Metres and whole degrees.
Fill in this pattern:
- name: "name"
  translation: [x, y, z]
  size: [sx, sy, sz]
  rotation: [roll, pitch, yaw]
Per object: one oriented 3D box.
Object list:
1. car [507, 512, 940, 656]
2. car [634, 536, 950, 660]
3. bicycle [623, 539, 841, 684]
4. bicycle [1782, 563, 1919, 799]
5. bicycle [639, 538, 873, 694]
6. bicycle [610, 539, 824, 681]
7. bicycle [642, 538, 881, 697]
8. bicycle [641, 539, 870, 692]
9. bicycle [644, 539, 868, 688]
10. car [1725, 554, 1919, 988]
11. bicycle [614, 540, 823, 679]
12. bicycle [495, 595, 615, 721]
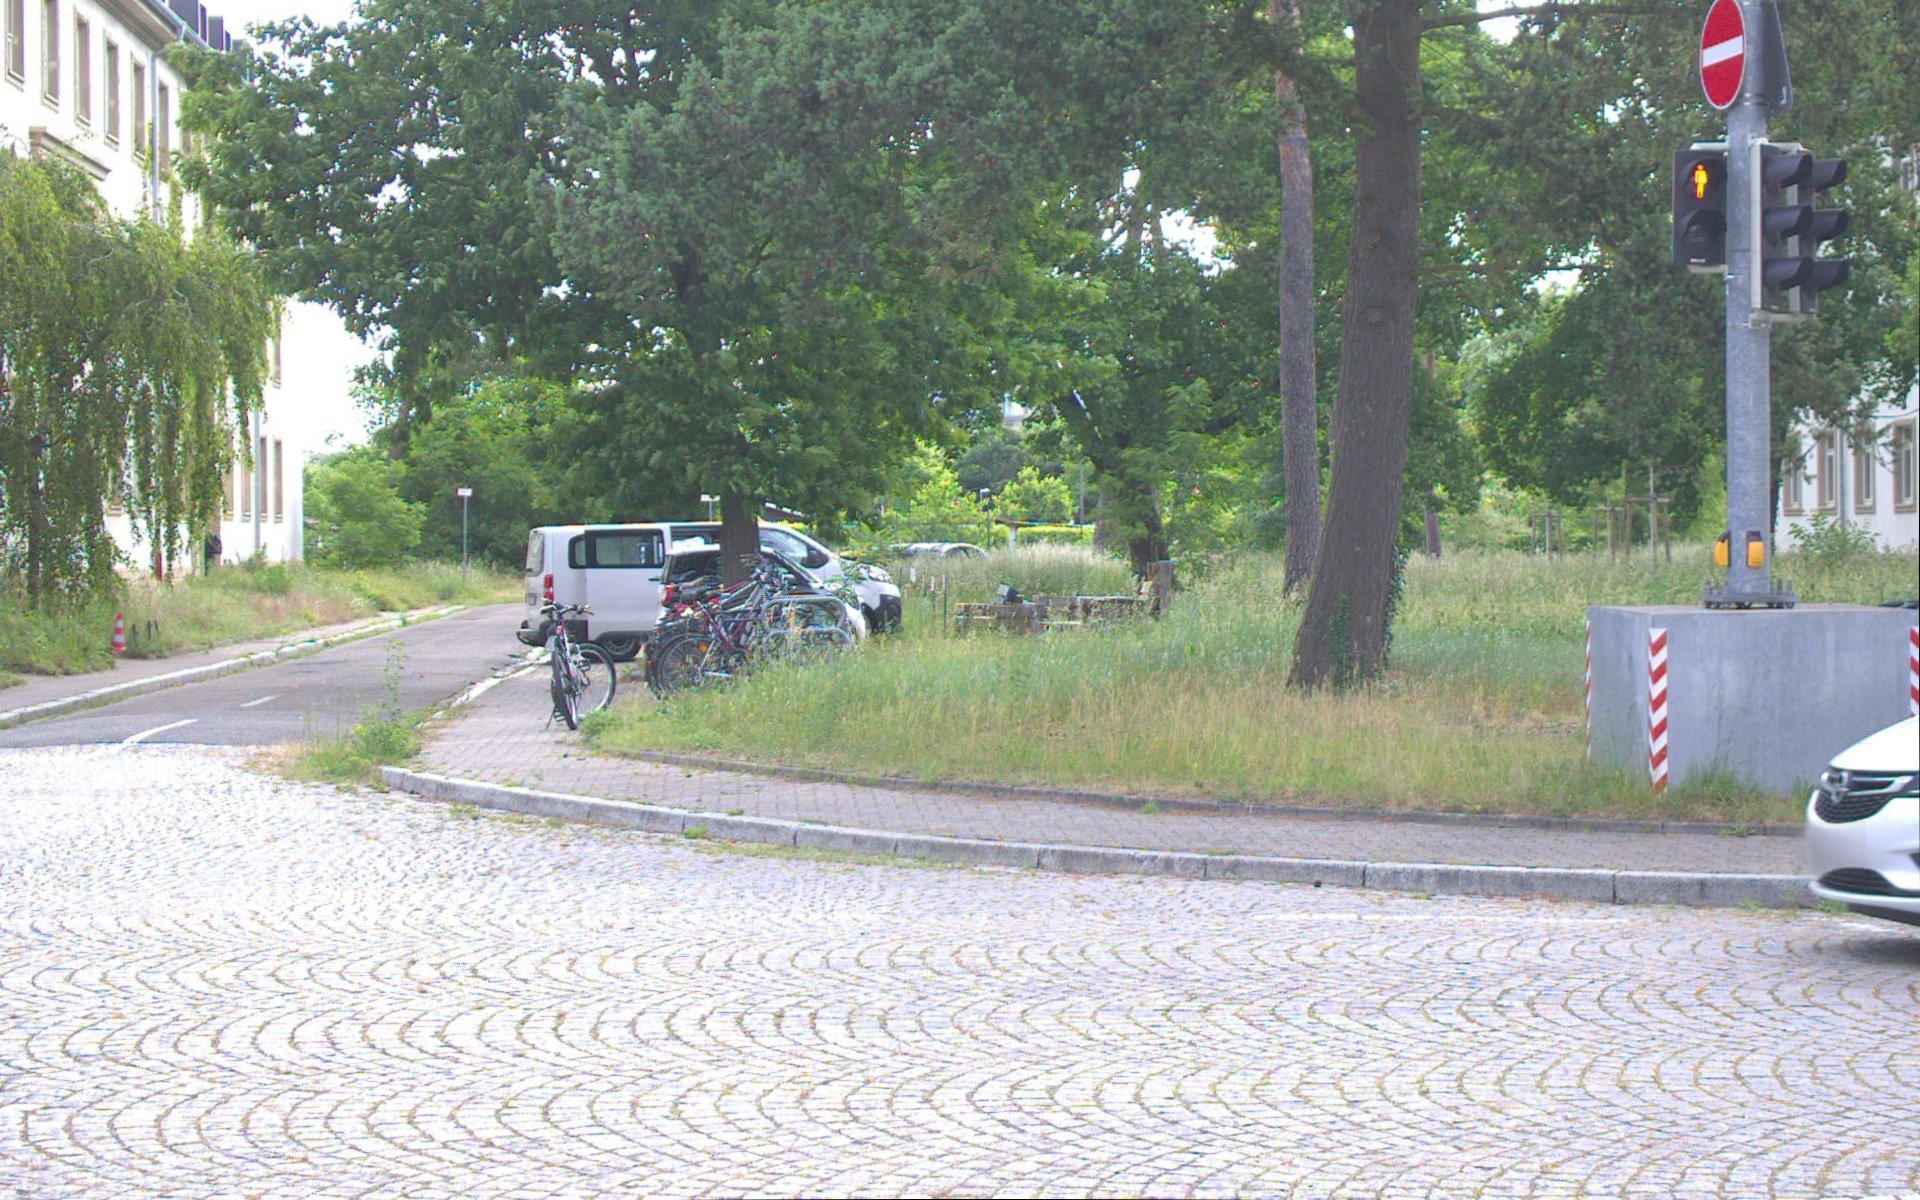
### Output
- name: "car"
  translation: [-3.321, -0.249, 48.030]
  size: [5.690, 1.904, 2.231]
  rotation: [-1, 1, -15]
- name: "car"
  translation: [-2.217, -0.047, 44.715]
  size: [3.931, 1.539, 2.001]
  rotation: [0, 1, -8]
- name: "bicycle"
  translation: [-2.184, 0.105, 33.070]
  size: [2.069, 1.373, 0.620]
  rotation: [0, 1, -3]
- name: "bicycle"
  translation: [5.108, 0.395, 18.263]
  size: [0.908, 1.173, 1.875]
  rotation: [0, 1, -4]
- name: "bicycle"
  translation: [-1.823, 0.137, 30.865]
  size: [2.069, 1.373, 0.620]
  rotation: [0, 1, -3]
- name: "bicycle"
  translation: [-2.382, 0.094, 33.799]
  size: [2.069, 1.373, 0.620]
  rotation: [0, 1, -3]
- name: "bicycle"
  translation: [-1.737, 0.146, 30.198]
  size: [2.069, 1.373, 0.620]
  rotation: [0, 1, -3]
- name: "bicycle"
  translation: [-1.866, 0.130, 31.489]
  size: [2.069, 1.373, 0.620]
  rotation: [0, 1, -3]
- name: "bicycle"
  translation: [-1.908, 0.121, 32.285]
  size: [2.069, 1.373, 0.620]
  rotation: [0, 1, -3]
- name: "car"
  translation: [5.085, 0.552, 12.247]
  size: [4.242, 1.411, 1.888]
  rotation: [0, 0, -3]
- name: "bicycle"
  translation: [-2.415, 0.086, 34.546]
  size: [2.069, 1.373, 0.620]
  rotation: [0, 1, -3]
- name: "bicycle"
  translation: [-3.318, 0.462, 28.323]
  size: [0.618, 0.960, 2.076]
  rotation: [0, 1, 3]
